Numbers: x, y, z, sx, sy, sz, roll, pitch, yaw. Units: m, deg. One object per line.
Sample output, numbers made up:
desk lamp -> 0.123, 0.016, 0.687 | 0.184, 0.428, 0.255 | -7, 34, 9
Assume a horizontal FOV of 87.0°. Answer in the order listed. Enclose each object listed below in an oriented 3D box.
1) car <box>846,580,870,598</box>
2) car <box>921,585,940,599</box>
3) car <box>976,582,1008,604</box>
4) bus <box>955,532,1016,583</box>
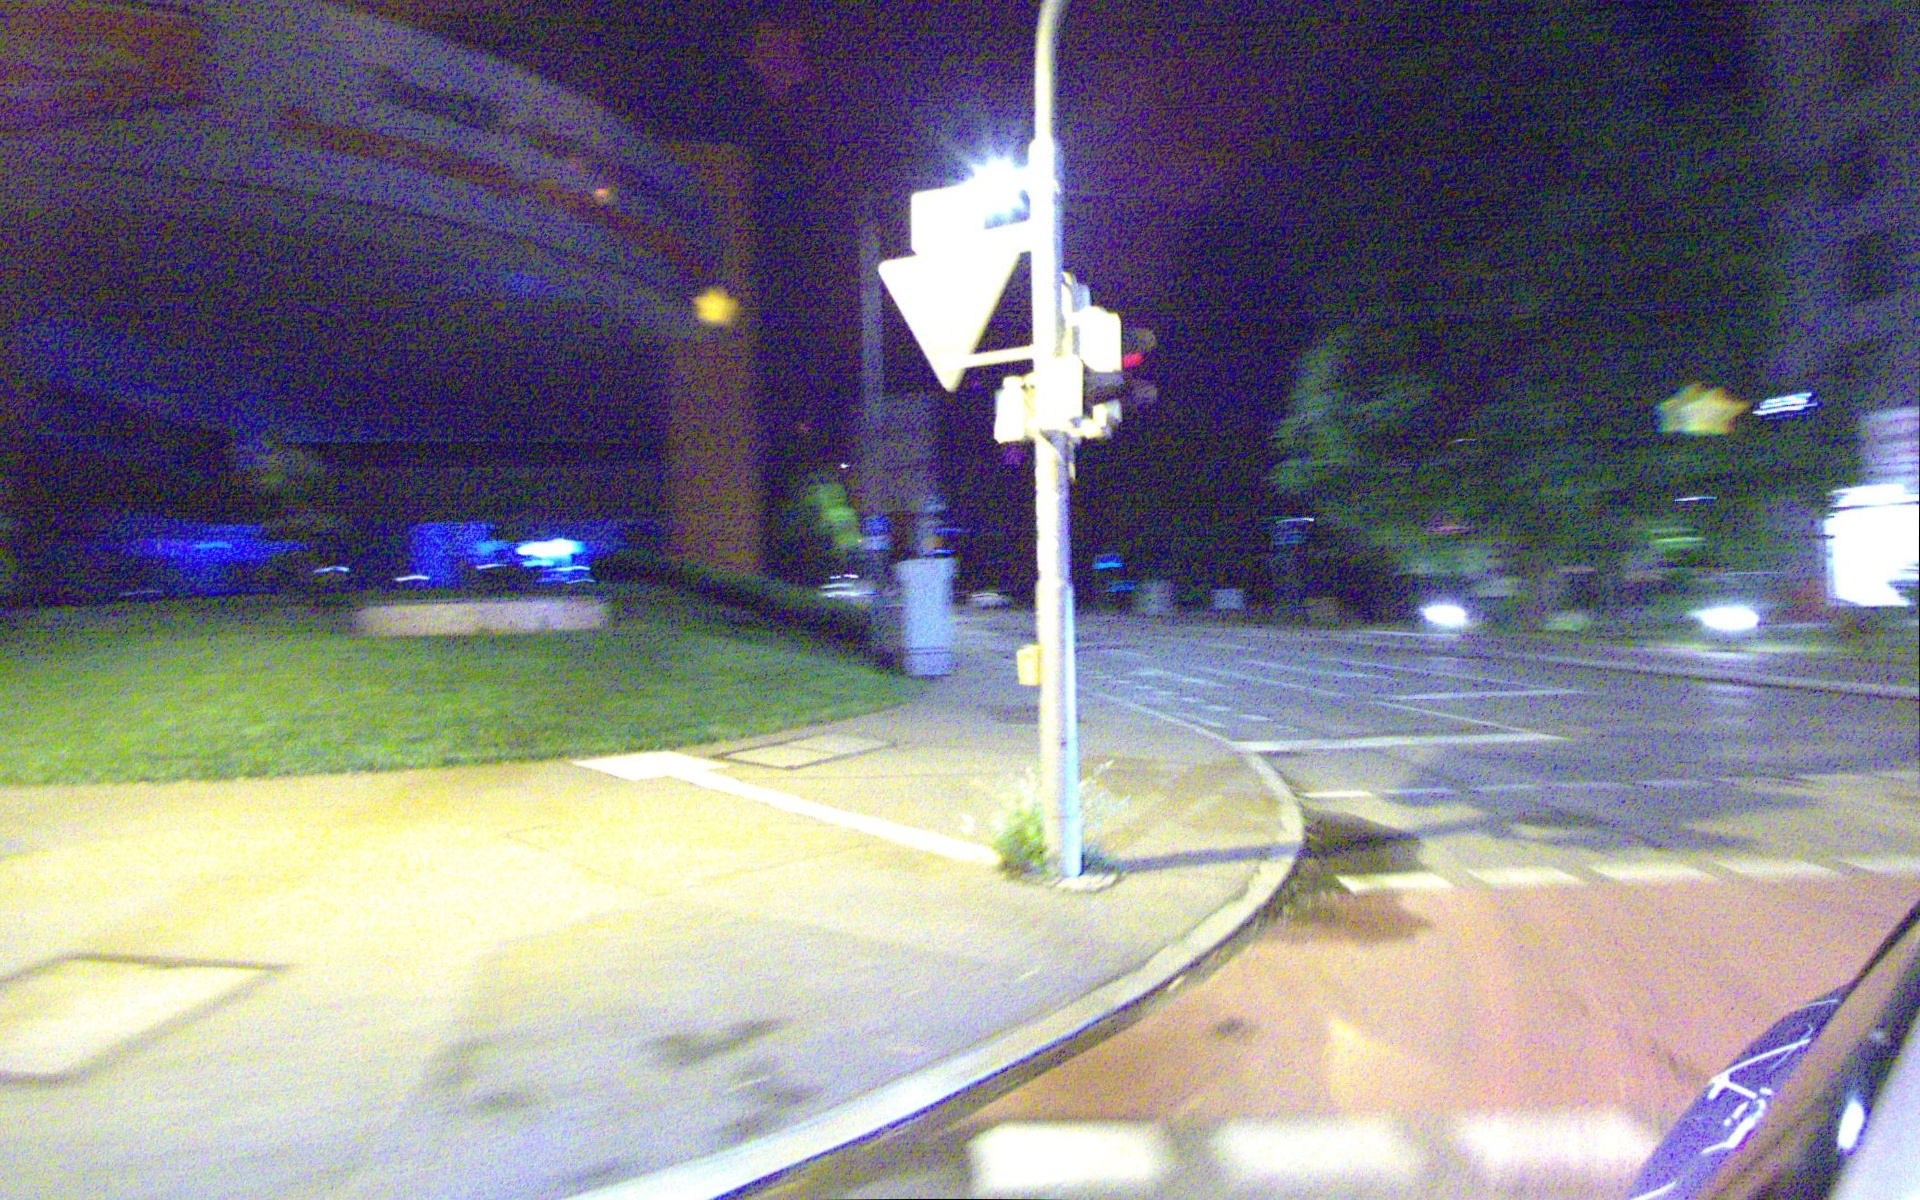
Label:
car -> -9.641, -1.092, 95.835 | 1.962, 1.668, 4.001 | 1, 1, 0
car -> -3.415, -0.942, 117.003 | 1.827, 1.511, 4.086 | -1, 1, -7
car -> 2.417, -0.544, 77.676 | 1.771, 1.612, 4.006 | -1, 1, -8
bus -> 3.449, -5.963, 146.571 | 6.013, 7.025, 14.808 | -1, 1, -10
